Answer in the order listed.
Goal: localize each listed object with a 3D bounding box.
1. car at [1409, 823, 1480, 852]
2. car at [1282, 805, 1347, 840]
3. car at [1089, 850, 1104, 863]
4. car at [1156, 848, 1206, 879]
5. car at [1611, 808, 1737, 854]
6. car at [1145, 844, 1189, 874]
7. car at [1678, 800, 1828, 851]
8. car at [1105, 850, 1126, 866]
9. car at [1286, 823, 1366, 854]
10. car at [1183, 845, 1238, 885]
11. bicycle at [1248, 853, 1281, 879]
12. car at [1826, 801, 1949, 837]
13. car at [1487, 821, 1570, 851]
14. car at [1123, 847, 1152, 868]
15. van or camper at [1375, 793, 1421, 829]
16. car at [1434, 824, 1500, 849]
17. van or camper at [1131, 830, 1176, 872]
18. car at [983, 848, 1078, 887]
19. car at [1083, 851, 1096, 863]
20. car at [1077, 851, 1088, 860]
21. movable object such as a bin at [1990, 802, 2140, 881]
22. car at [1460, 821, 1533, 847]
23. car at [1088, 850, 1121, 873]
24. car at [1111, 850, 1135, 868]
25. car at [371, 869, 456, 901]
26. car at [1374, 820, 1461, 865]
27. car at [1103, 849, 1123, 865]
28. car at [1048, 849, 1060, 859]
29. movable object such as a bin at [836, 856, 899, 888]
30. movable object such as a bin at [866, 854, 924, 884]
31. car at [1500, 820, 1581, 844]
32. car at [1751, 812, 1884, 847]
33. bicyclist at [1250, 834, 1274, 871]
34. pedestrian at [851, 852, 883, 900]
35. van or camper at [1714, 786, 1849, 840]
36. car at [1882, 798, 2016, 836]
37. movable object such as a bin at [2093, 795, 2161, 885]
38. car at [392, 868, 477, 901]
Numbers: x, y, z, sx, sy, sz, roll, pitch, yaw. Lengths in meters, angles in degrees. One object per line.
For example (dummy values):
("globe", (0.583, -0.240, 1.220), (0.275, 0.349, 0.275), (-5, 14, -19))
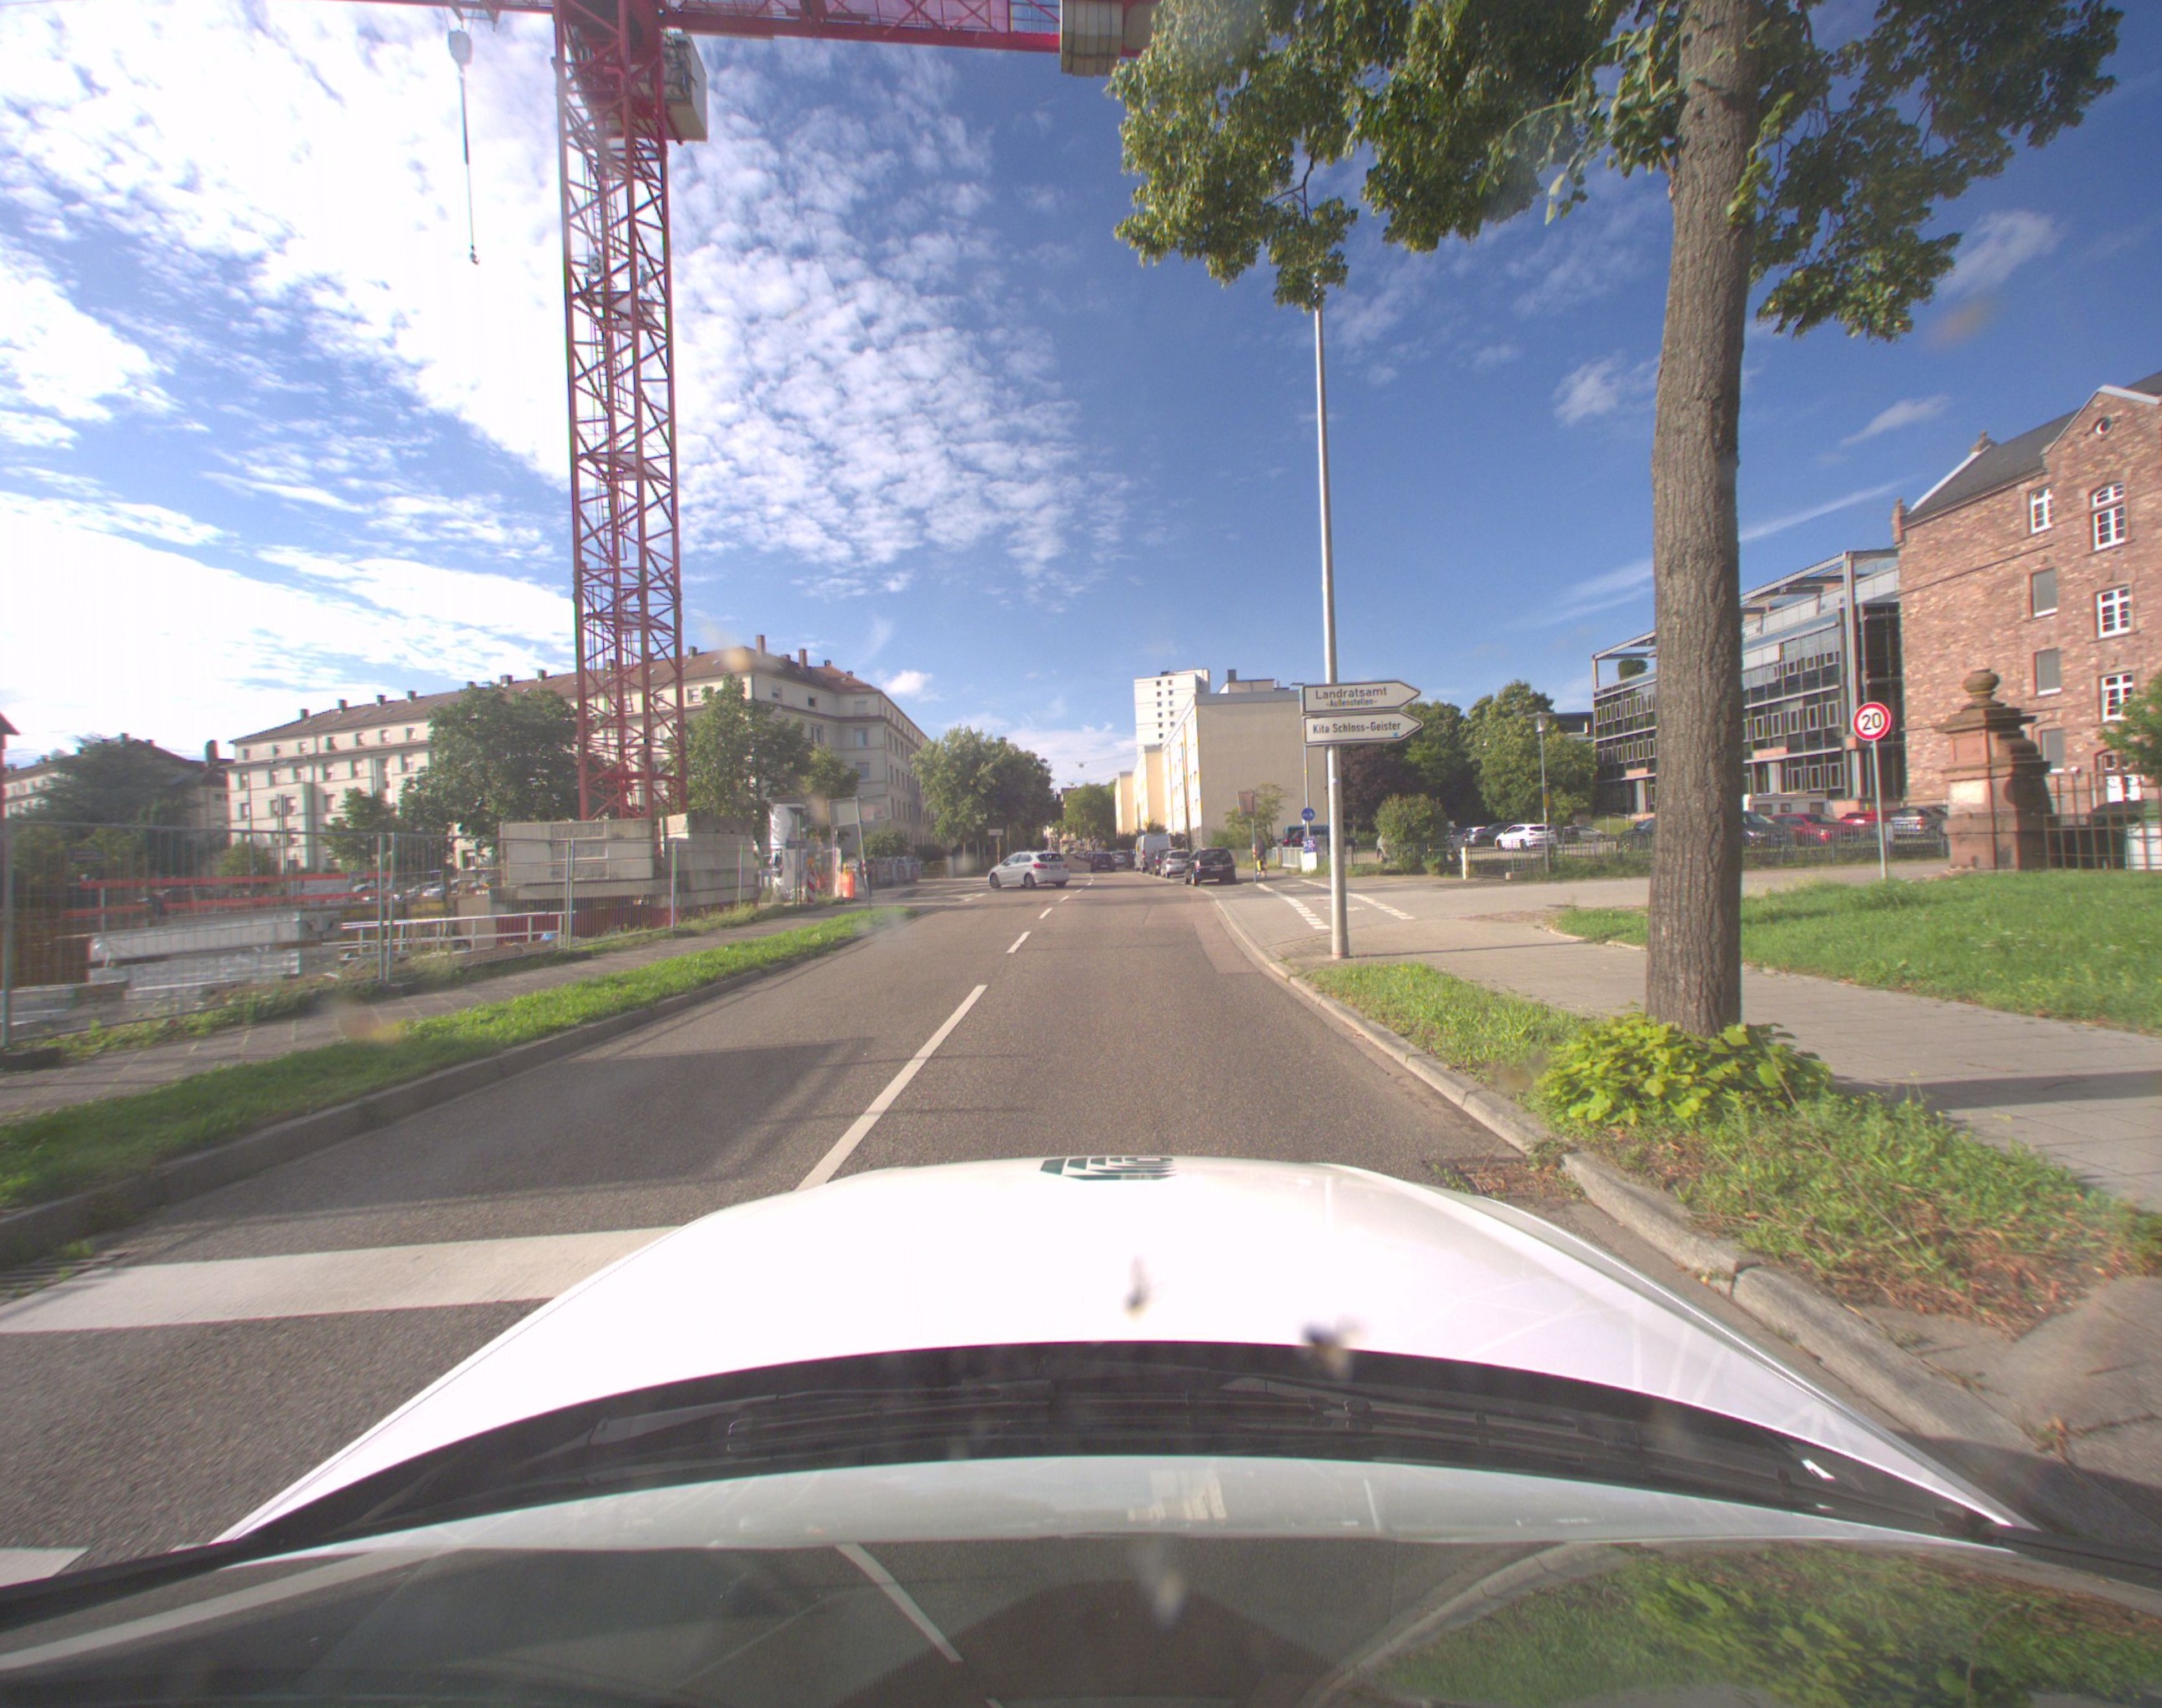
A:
("car", (19.911, -0.874, 44.836), (1.988, 1.442, 3.997), (-3, 0, -2))
("car", (16.791, -2.231, 58.687), (4.101, 2.186, 2.002), (-3, 0, 4))
("car", (2.188, 0.328, 115.256), (1.987, 1.574, 4.000), (-3, 0, 0))
("car", (5.401, 0.497, 44.729), (2.010, 1.475, 4.799), (-4, 0, -1))
("car", (24.274, -0.886, 33.590), (1.843, 1.589, 4.609), (-4, 0, 2))
("car", (5.220, 0.295, 50.151), (1.989, 1.615, 4.404), (-3, 0, -2))
("car", (27.090, -1.076, 33.069), (1.846, 1.743, 4.795), (-4, 0, -4))
("car", (3.579, 0.434, 85.829), (1.987, 1.530, 4.000), (-3, 0, 0))
("car", (15.358, -0.965, 51.297), (4.428, 1.621, 2.002), (-3, 0, 4))
("car", (5.261, 0.441, 33.582), (1.711, 1.496, 4.270), (-2, 0, 2))
("bicycle", (7.826, 0.498, 34.810), (0.738, 1.034, 2.762), (-5, 0, 0))
("car", (39.584, -1.696, 40.044), (3.973, 1.442, 2.000), (-3, 0, 1))
("car", (24.468, -0.946, 44.713), (1.991, 1.442, 3.991), (-3, 0, -6))
("car", (4.629, 0.272, 67.120), (1.987, 1.574, 4.000), (-3, 0, 0))
("van or camper", (30.105, -4.036, 77.555), (2.320, 2.874, 5.126), (-6, 0, 3))
("car", (28.884, -1.291, 61.078), (3.975, 1.552, 2.000), (-3, 0, -1))
("van or camper", (4.921, -0.218, 56.188), (2.204, 2.607, 5.365), (-3, 0, -3))
("car", (-2.230, 0.588, 35.193), (2.010, 1.555, 4.224), (-1, 0, -39))
("car", (1.390, 0.476, 133.752), (1.987, 1.684, 4.000), (-3, 0, 0))
("car", (0.323, 0.322, 164.555), (1.986, 1.755, 4.001), (-2, 0, 1))
("movable object such as a bin", (16.506, -0.208, 13.701), (1.187, 1.231, 1.092), (-2, 0, -3))
("car", (28.477, -1.358, 55.917), (3.975, 1.486, 2.000), (-3, 0, -1))
("car", (1.707, 0.555, 60.163), (1.990, 1.570, 3.994), (-2, 0, -4))
("car", (3.980, 0.436, 77.584), (1.987, 1.574, 4.000), (-3, 0, 0))
("car", (-44.934, 2.062, 54.947), (1.980, 2.013, 4.014), (-2, 0, 13))
("car", (14.111, -0.470, 34.433), (1.986, 1.665, 4.153), (-3, 0, 2))
("car", (3.550, 0.320, 90.082), (1.987, 1.574, 4.000), (-3, 0, 0))
("car", (-5.058, -0.034, 152.514), (2.053, 1.663, 3.919), (-4, 0, -6))
("movable object such as a bin", (-12.169, 1.019, 46.483), (3.080, 1.708, 1.554), (-2, 0, 15))
("movable object such as a bin", (-11.264, 0.907, 49.296), (3.081, 1.708, 1.416), (-2, -1, 14))
("car", (28.723, -1.338, 51.008), (3.967, 1.310, 2.003), (-2, 0, 5))
("car", (29.950, -0.996, 33.277), (1.706, 1.265, 3.954), (-4, 2, -4))
("bicyclist", (7.790, -0.050, 35.046), (0.735, 1.513, 0.874), (-5, 0, 0))
("pedestrian", (-7.980, 0.822, 30.454), (1.007, 1.728, 1.173), (-2, -1, -11))
("van or camper", (38.786, -2.231, 45.185), (5.224, 2.556, 2.595), (-3, 0, -1))
("car", (39.798, -1.665, 37.414), (3.973, 1.442, 2.000), (-3, 0, 1))
("movable object such as a bin", (17.555, -0.239, 13.311), (0.828, 1.423, 0.941), (-2, 0, -3))
("car", (-42.728, 1.994, 53.915), (1.980, 2.013, 4.014), (-2, 0, 13))
